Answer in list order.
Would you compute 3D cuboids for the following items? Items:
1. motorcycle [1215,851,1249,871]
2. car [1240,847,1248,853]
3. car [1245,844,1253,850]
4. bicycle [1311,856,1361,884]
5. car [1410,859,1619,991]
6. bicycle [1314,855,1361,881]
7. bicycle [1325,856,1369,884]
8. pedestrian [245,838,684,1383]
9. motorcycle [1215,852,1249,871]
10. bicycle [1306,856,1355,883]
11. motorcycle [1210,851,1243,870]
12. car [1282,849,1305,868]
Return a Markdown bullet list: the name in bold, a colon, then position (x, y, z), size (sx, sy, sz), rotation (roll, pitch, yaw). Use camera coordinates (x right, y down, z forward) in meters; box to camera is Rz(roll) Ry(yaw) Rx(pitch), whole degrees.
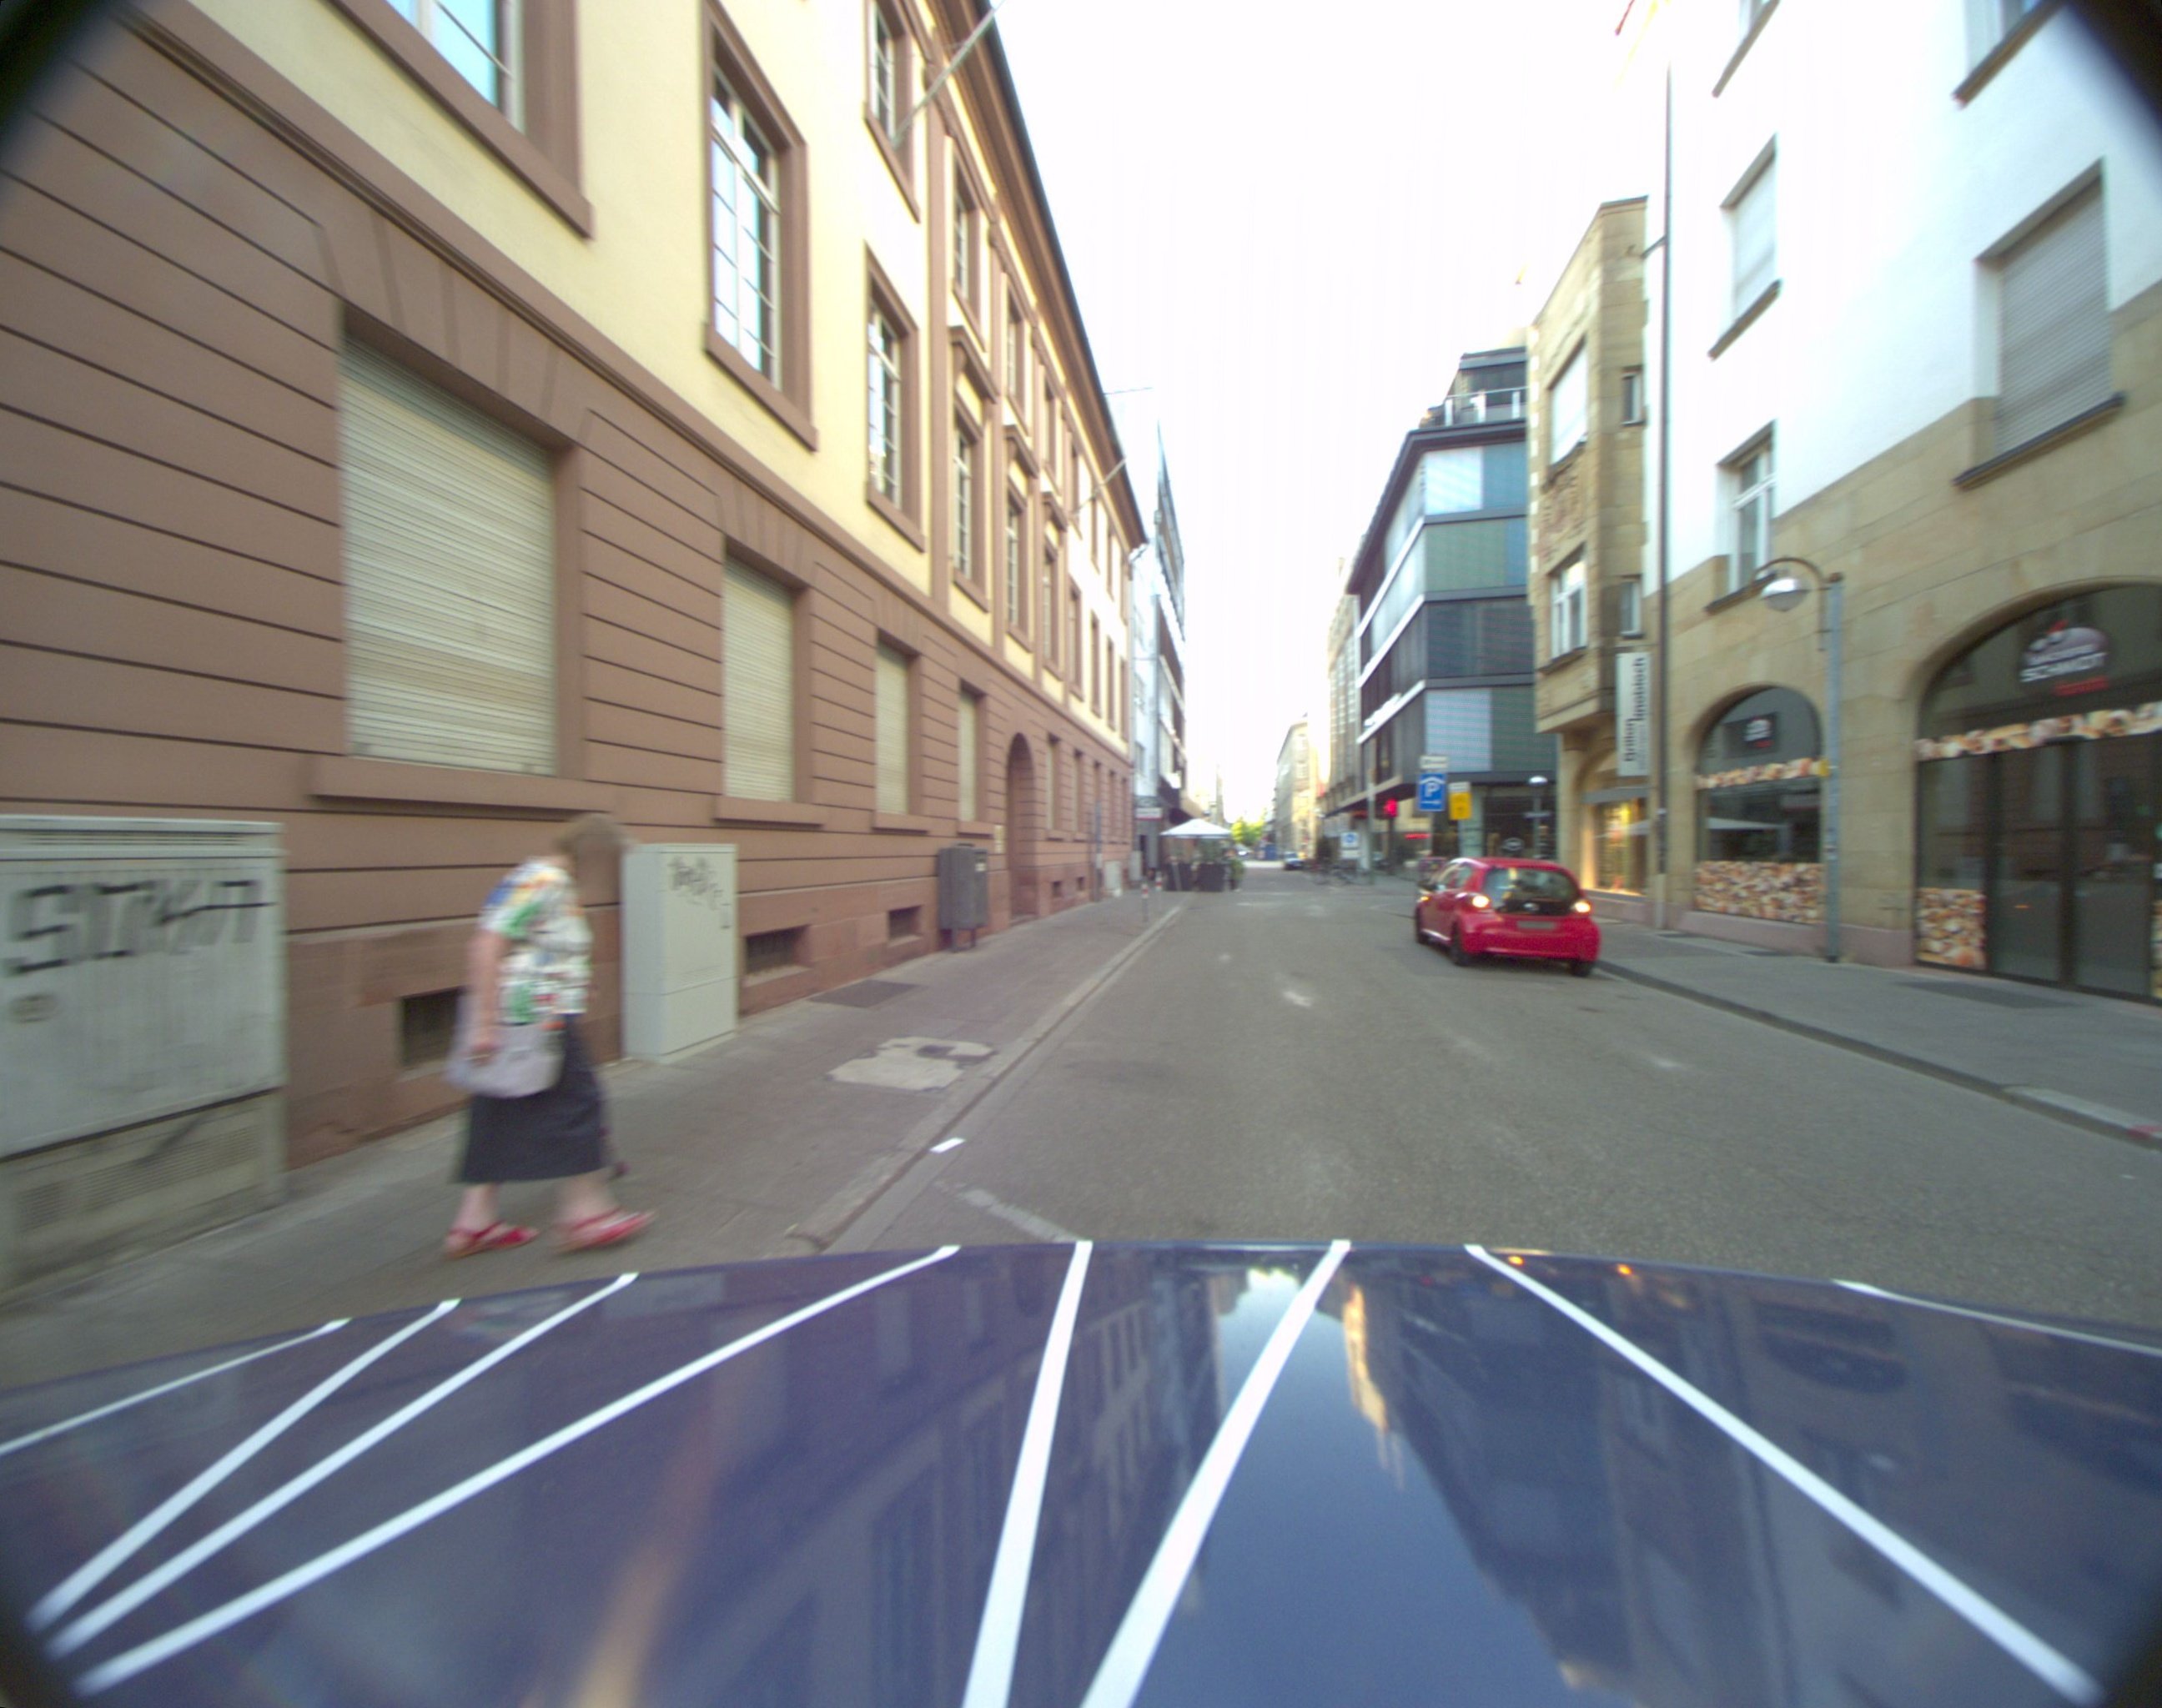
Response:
- **motorcycle**: position (10.292, 0.483, 51.812), size (2.190, 1.275, 0.652), rotation (1, 2, 14)
- **car**: position (31.409, -0.728, 146.744), size (1.424, 1.090, 3.566), rotation (-1, 0, 11)
- **car**: position (38.566, -1.580, 174.321), size (1.425, 1.259, 3.564), rotation (-1, 0, 7)
- **bicycle**: position (10.764, 0.670, 32.139), size (1.951, 1.124, 0.620), rotation (-1, 1, 13)
- **car**: position (5.893, 0.857, 10.753), size (1.635, 1.433, 3.159), rotation (3, 1, 12)
- **bicycle**: position (11.700, 0.638, 34.716), size (1.951, 1.124, 0.527), rotation (-1, 1, 13)
- **bicycle**: position (10.704, 0.648, 30.629), size (1.605, 1.112, 0.620), rotation (-1, 1, 13)
- **pedestrian**: position (-2.100, 0.780, 2.757), size (0.930, 1.661, 0.811), rotation (0, 1, -7)
- **motorcycle**: position (10.138, 0.495, 50.859), size (2.190, 1.275, 0.652), rotation (1, 2, 14)
- **bicycle**: position (10.823, 0.658, 33.057), size (1.951, 1.124, 0.620), rotation (-1, 1, 13)
- **motorcycle**: position (10.263, 0.468, 53.581), size (2.190, 1.275, 0.652), rotation (1, 2, 14)
- **car**: position (16.379, 0.347, 58.657), size (1.424, 1.409, 3.898), rotation (-1, 0, 11)
